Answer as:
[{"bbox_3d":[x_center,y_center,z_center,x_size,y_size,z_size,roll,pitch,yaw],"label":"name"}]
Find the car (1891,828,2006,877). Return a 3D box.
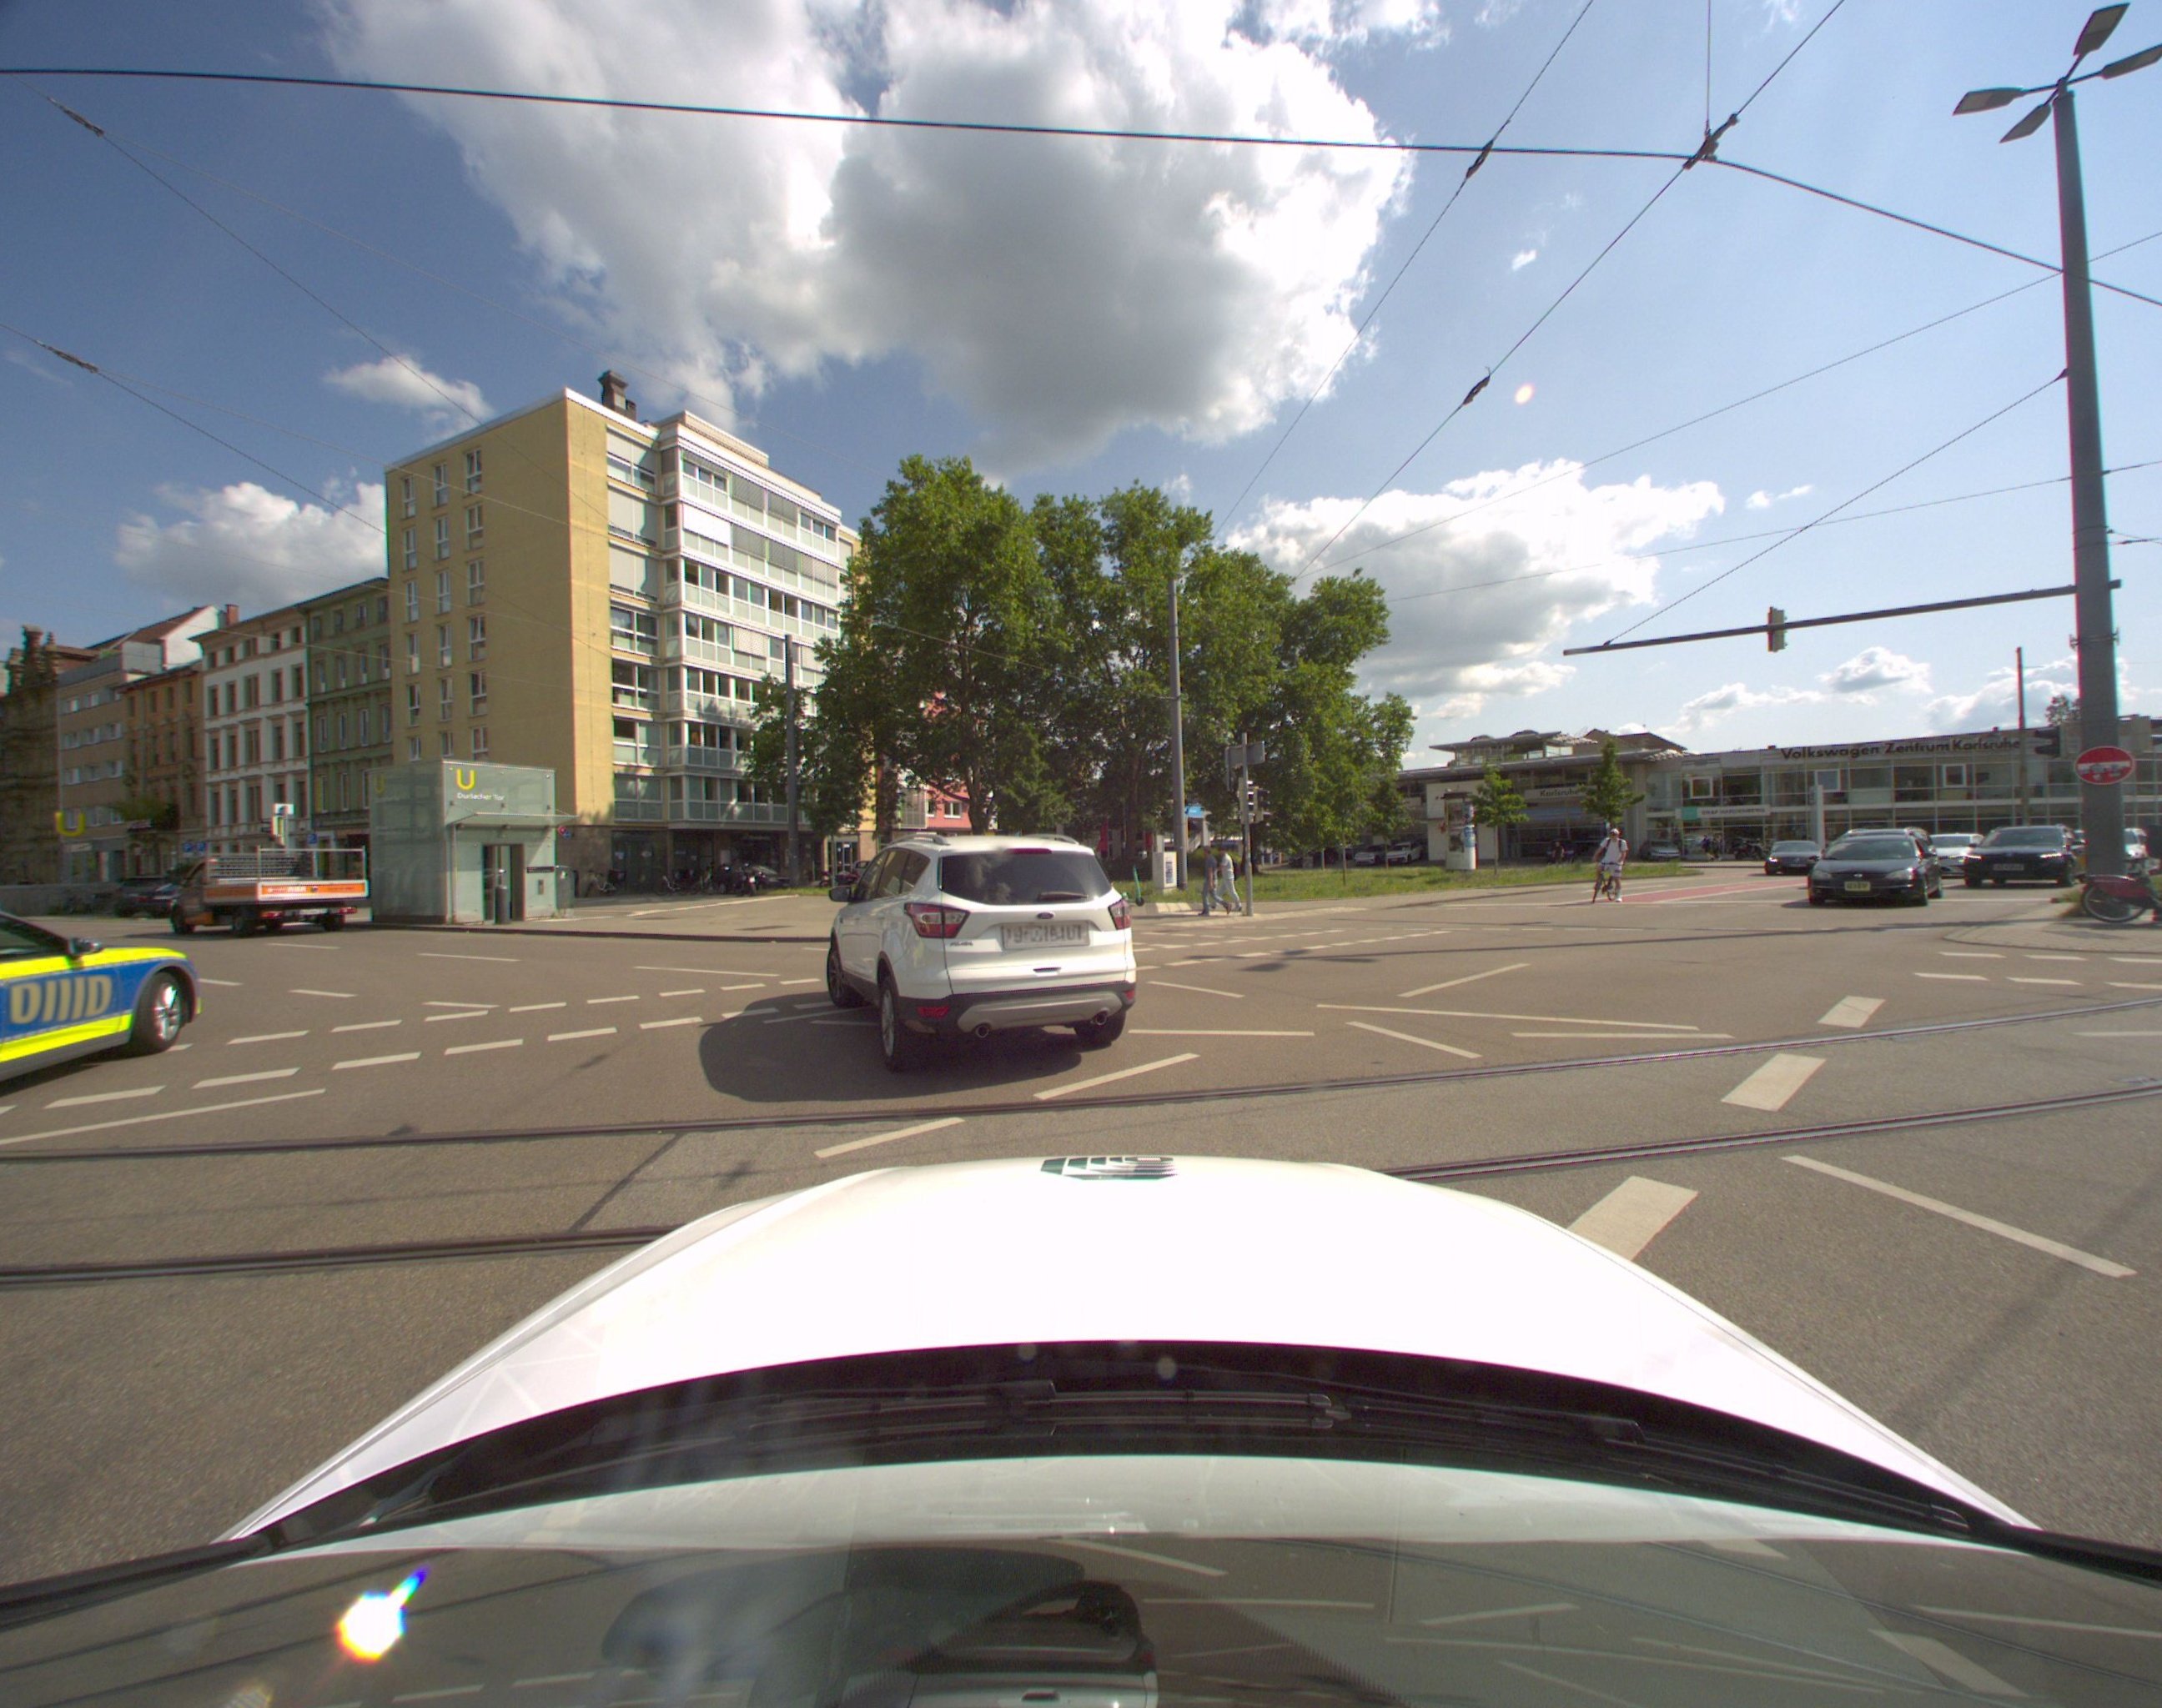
[{"bbox_3d":[28.489,-0.059,26.731,3.979,1.461,1.616,-2,-1,-29],"label":"car"}]

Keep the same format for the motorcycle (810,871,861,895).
[{"bbox_3d":[-10.752,1.247,35.727,2.041,0.917,0.807,-2,0,-14],"label":"motorcycle"}]

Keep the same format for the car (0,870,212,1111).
[{"bbox_3d":[-7.961,0.925,4.938,1.887,1.568,4.581,-1,0,-22],"label":"car"}]

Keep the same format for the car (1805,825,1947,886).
[{"bbox_3d":[22.519,0.025,23.051,4.010,1.573,1.727,-2,-1,-29],"label":"car"}]

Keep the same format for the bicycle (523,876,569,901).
[{"bbox_3d":[-23.909,1.539,36.383,1.789,1.104,0.801,-1,0,20],"label":"bicycle"}]

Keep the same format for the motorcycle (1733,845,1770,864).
[{"bbox_3d":[43.285,0.026,52.559,1.951,1.185,0.566,0,0,-3],"label":"motorcycle"}]

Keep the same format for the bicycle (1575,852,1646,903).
[{"bbox_3d":[13.417,0.569,20.606,2.160,1.192,0.753,-2,-1,-37],"label":"bicycle"}]

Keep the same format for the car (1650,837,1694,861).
[{"bbox_3d":[42.343,-0.344,58.297,3.939,1.534,1.802,0,-3,-43],"label":"car"}]

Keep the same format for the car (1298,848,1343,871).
[{"bbox_3d":[21.183,0.494,71.873,1.948,1.937,5.100,-4,-2,38],"label":"car"}]

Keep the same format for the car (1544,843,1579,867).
[{"bbox_3d":[34.053,0.098,57.702,1.800,1.534,3.942,-3,-2,35],"label":"car"}]

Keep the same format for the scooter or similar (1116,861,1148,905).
[{"bbox_3d":[1.427,0.808,23.046,0.400,1.193,1.165,0,0,-25],"label":"scooter or similar"}]

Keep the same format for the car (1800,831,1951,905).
[{"bbox_3d":[16.815,0.264,17.191,3.658,1.373,1.723,-2,-1,-37],"label":"car"}]

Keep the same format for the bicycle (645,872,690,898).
[{"bbox_3d":[-18.640,1.385,36.715,1.788,1.147,0.801,-1,0,21],"label":"bicycle"}]

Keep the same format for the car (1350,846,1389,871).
[{"bbox_3d":[24.213,0.360,68.272,1.948,1.937,4.258,-3,-2,35],"label":"car"}]

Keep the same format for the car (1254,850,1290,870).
[{"bbox_3d":[18.241,0.570,77.838,1.837,1.790,3.983,-1,-1,-12],"label":"car"}]

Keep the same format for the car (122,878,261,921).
[{"bbox_3d":[-34.447,1.718,31.707,1.898,1.497,3.877,0,-1,-17],"label":"car"}]

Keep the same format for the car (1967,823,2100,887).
[{"bbox_3d":[24.334,0.012,20.779,3.984,1.461,1.677,-2,-1,-33],"label":"car"}]

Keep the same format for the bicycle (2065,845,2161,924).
[{"bbox_3d":[15.882,0.442,11.964,0.643,1.125,1.762,-2,1,-43],"label":"bicycle"}]

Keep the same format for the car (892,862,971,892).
[{"bbox_3d":[-7.586,1.160,41.723,1.887,1.413,4.024,-2,-2,27],"label":"car"}]

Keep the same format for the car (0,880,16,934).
[{"bbox_3d":[-31.740,1.519,22.609,3.950,1.474,1.865,-1,0,26],"label":"car"}]

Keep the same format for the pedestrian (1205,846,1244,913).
[{"bbox_3d":[3.778,0.655,21.442,0.916,1.743,0.592,0,0,20],"label":"pedestrian"}]

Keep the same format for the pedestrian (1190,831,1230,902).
[{"bbox_3d":[3.219,0.304,20.300,0.916,1.743,0.592,0,0,17],"label":"pedestrian"}]

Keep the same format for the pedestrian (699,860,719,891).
[{"bbox_3d":[-19.400,1.114,42.494,0.863,1.608,0.823,0,0,-33],"label":"pedestrian"}]

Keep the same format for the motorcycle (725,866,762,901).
[{"bbox_3d":[-12.947,1.104,31.220,0.909,1.238,2.196,-2,0,-33],"label":"motorcycle"}]

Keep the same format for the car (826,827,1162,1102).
[{"bbox_3d":[-1.062,0.697,7.191,1.835,1.664,3.924,-2,0,-23],"label":"car"}]

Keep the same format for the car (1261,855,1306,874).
[{"bbox_3d":[20.298,1.094,81.803,1.852,1.790,3.951,0,-2,-43],"label":"car"}]

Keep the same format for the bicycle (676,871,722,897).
[{"bbox_3d":[-17.612,1.394,37.569,1.927,1.147,0.801,-1,0,21],"label":"bicycle"}]

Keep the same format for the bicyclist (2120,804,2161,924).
[{"bbox_3d":[15.891,0.142,11.991,0.643,1.738,0.654,-2,1,-44],"label":"bicyclist"}]

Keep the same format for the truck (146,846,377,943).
[{"bbox_3d":[-20.641,0.972,20.487,5.778,2.155,2.360,-2,0,26],"label":"truck"}]

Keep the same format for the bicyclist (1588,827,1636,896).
[{"bbox_3d":[13.488,0.189,20.689,0.764,1.683,0.753,-1,-1,-36],"label":"bicyclist"}]

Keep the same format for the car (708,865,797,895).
[{"bbox_3d":[-15.745,1.234,39.028,3.951,1.398,1.682,-1,-1,23],"label":"car"}]

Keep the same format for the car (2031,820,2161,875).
[{"bbox_3d":[30.136,-0.196,24.052,3.979,1.461,1.888,-1,-1,-29],"label":"car"}]

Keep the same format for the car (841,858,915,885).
[{"bbox_3d":[-12.105,1.022,48.463,3.951,1.495,1.813,-2,0,24],"label":"car"}]

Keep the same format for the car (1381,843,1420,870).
[{"bbox_3d":[26.084,0.222,66.401,1.974,2.014,4.258,-3,-2,35],"label":"car"}]

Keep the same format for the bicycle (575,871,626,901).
[{"bbox_3d":[-21.936,1.442,37.226,0.786,1.258,1.821,-1,0,35],"label":"bicycle"}]

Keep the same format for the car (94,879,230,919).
[{"bbox_3d":[-37.461,1.800,33.356,1.898,1.497,3.877,0,-1,-17],"label":"car"}]

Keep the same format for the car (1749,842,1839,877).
[{"bbox_3d":[29.019,0.215,33.116,4.016,1.288,1.725,-2,-1,-34],"label":"car"}]
